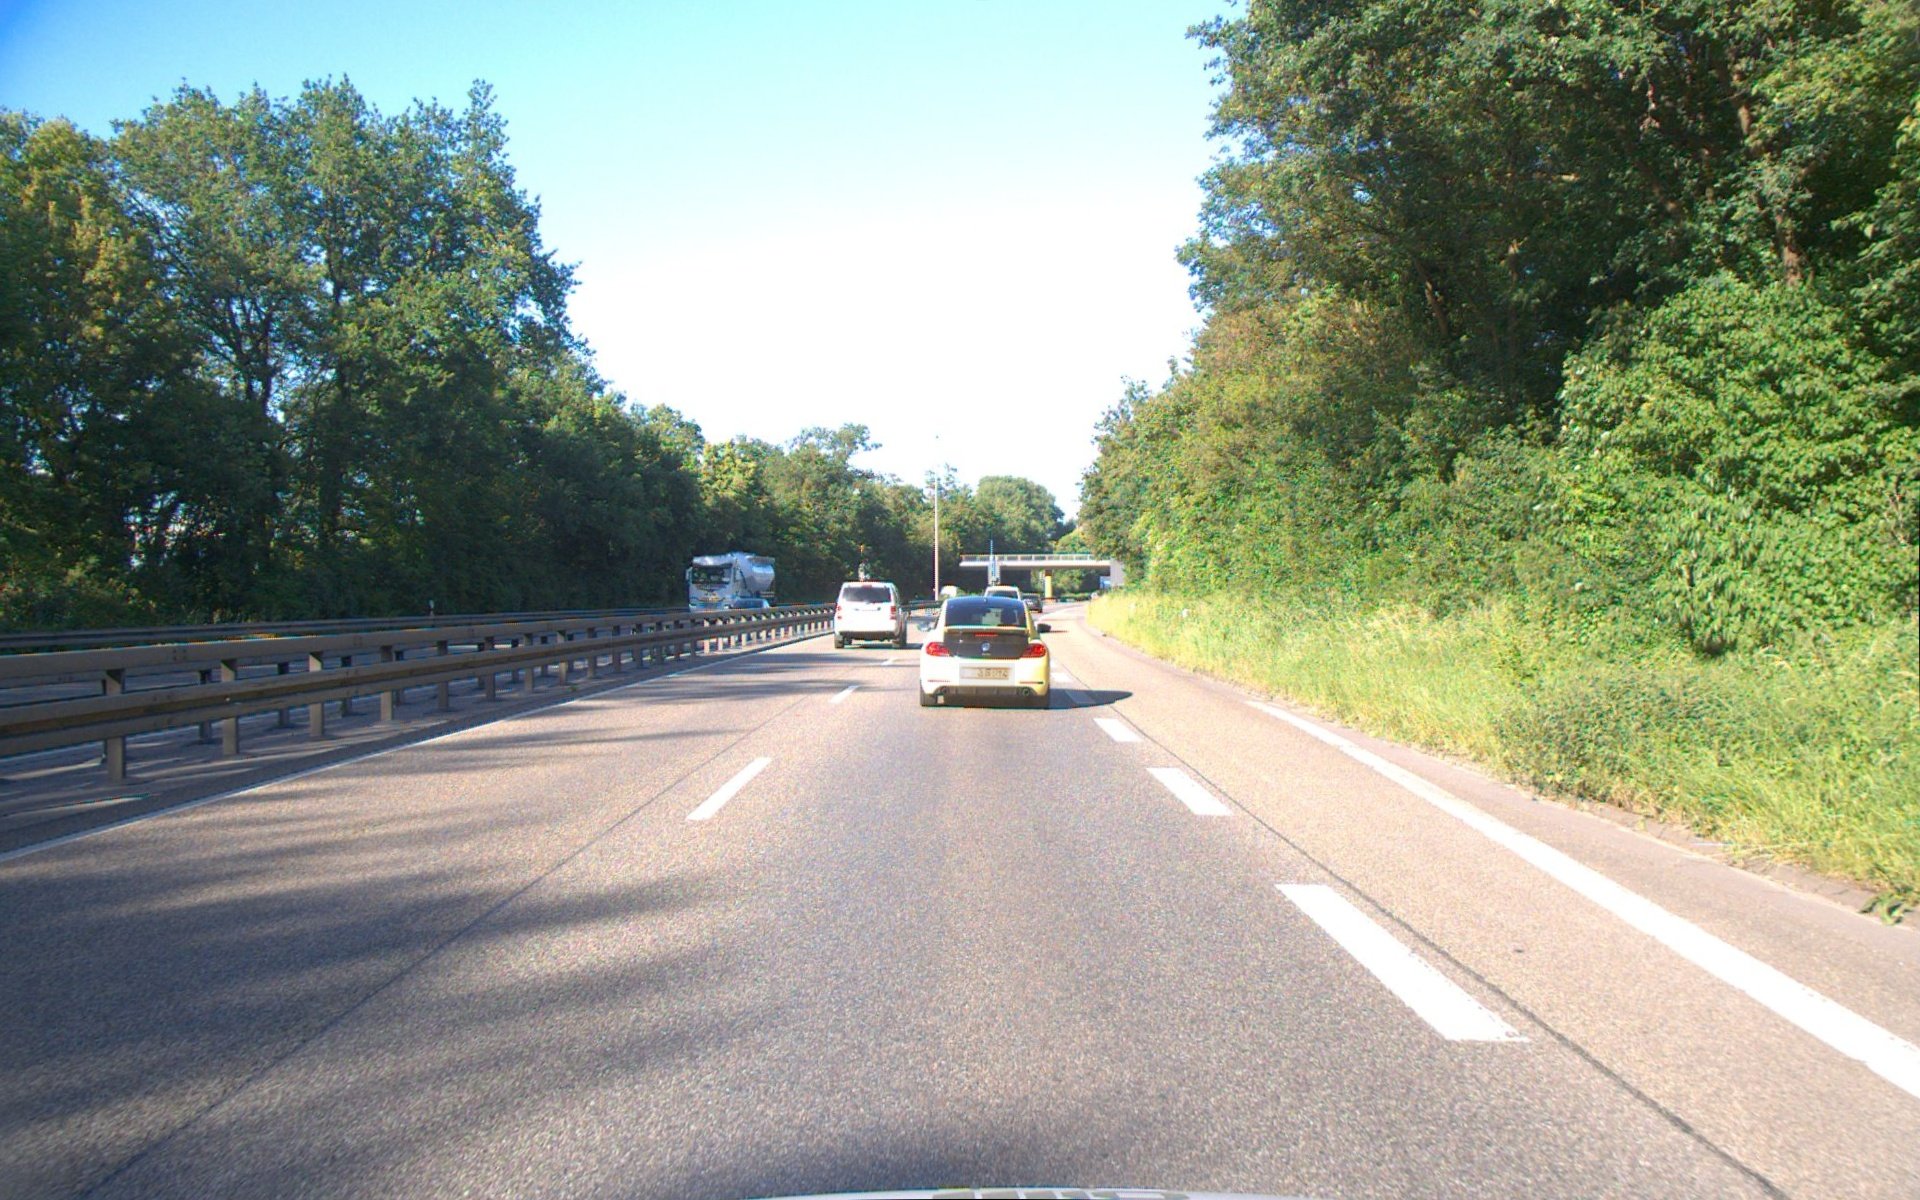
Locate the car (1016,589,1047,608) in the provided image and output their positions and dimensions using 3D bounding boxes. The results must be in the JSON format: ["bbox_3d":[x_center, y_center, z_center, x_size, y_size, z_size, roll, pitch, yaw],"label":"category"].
[{"bbox_3d":[5.635,-0.118,129.899,1.951,1.422,4.004,0,0,9],"label":"car"}]

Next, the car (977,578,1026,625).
[{"bbox_3d":[1.699,0.063,66.445,1.824,1.801,4.471,-1,0,3],"label":"car"}]

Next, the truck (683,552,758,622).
[{"bbox_3d":[-13.060,-0.700,90.580,2.919,3.693,6.158,-1,0,3],"label":"truck"}]

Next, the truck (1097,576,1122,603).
[{"bbox_3d":[23.897,-1.648,263.937,3.421,4.246,8.869,0,0,10],"label":"truck"}]

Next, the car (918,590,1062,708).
[{"bbox_3d":[0.361,0.630,23.632,1.841,1.487,4.355,1,0,-1],"label":"car"}]

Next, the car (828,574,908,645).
[{"bbox_3d":[-2.492,0.229,45.682,2.043,1.860,3.999,-1,0,-1],"label":"car"}]

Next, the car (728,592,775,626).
[{"bbox_3d":[-9.683,0.389,77.065,1.632,1.492,4.092,-1,0,0],"label":"car"}]

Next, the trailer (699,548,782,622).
[{"bbox_3d":[-12.812,-0.887,97.527,2.989,4.067,10.976,-1,0,2],"label":"trailer"}]
